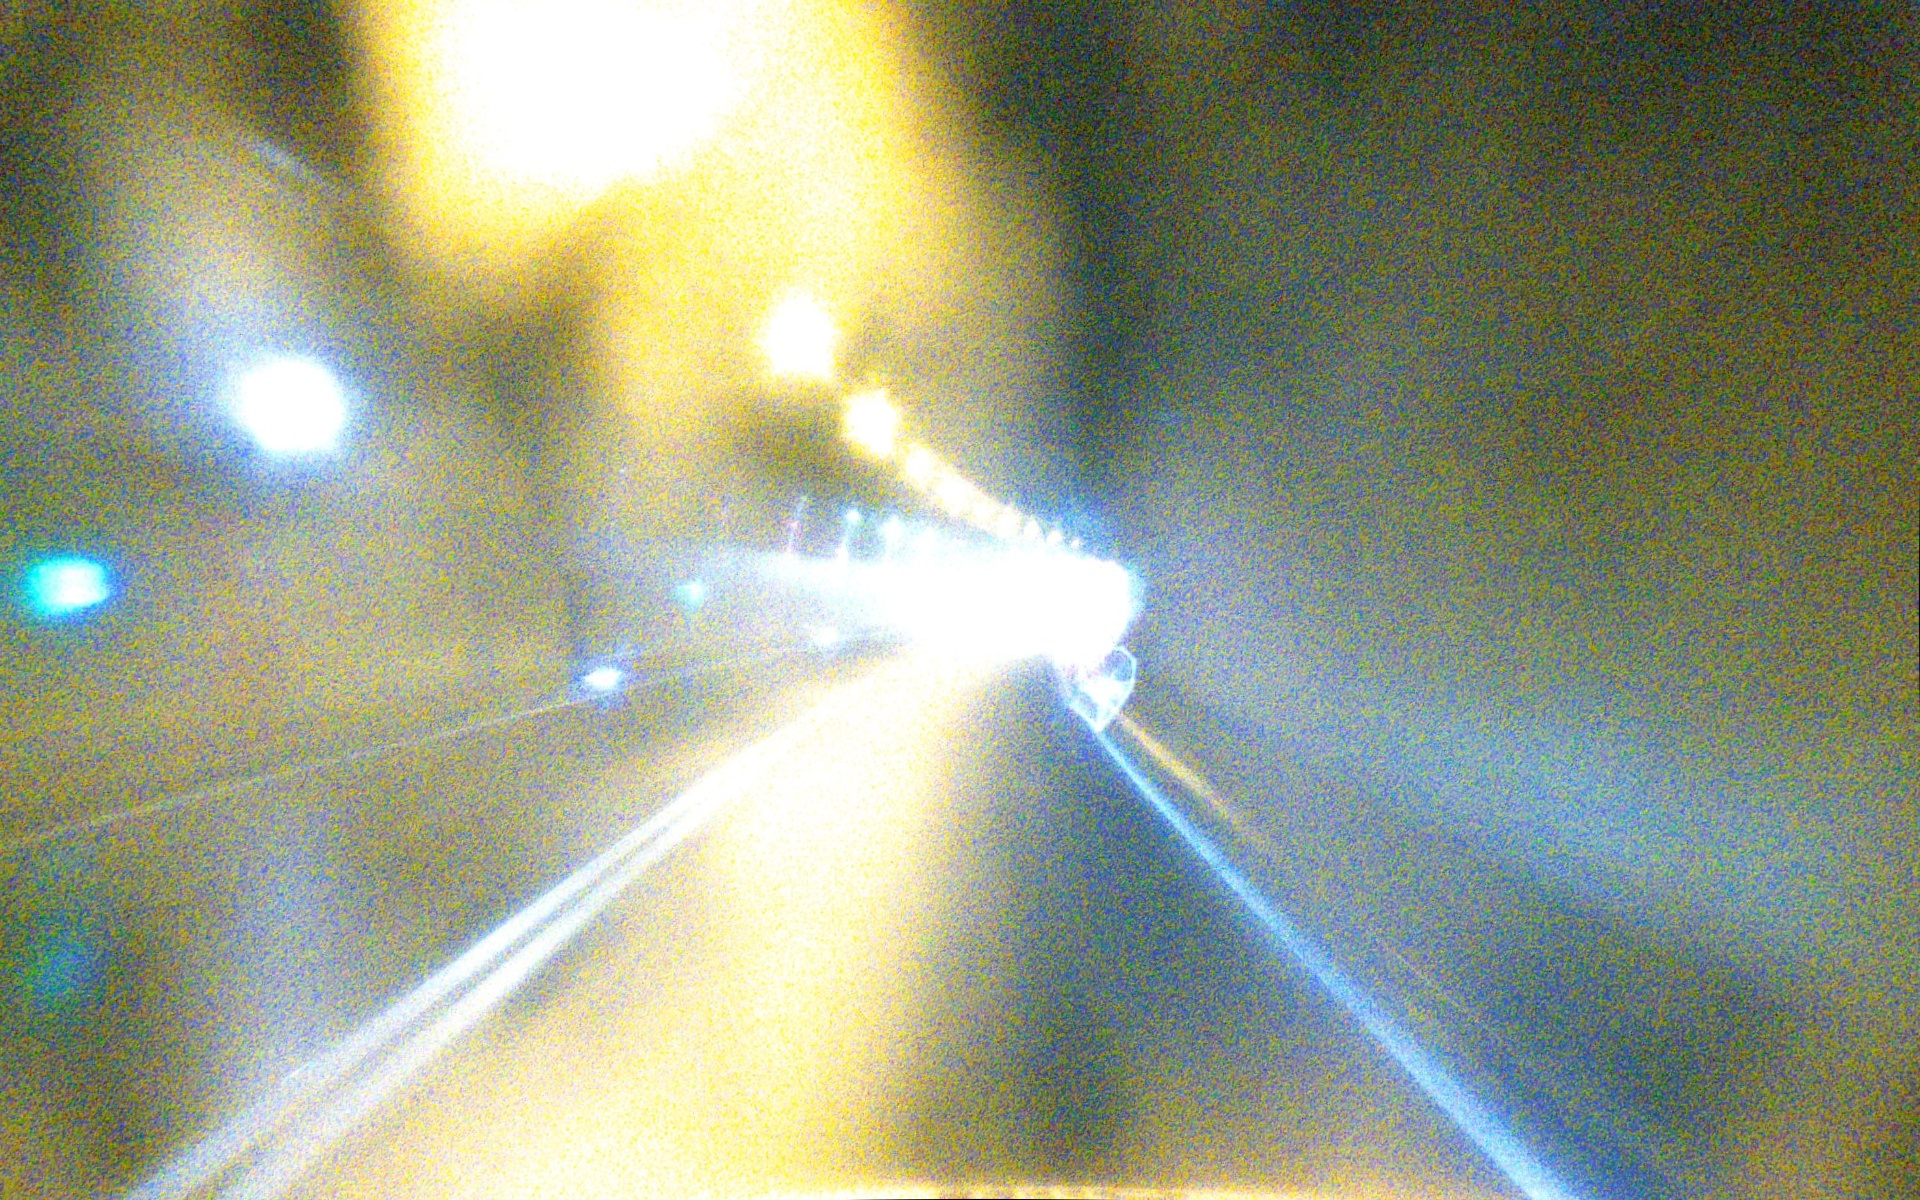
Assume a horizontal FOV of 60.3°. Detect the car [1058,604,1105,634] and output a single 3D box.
[{"bbox_3d":[7.174,1.098,97.245,1.951,1.679,4.002,1,0,16],"label":"car"}]
